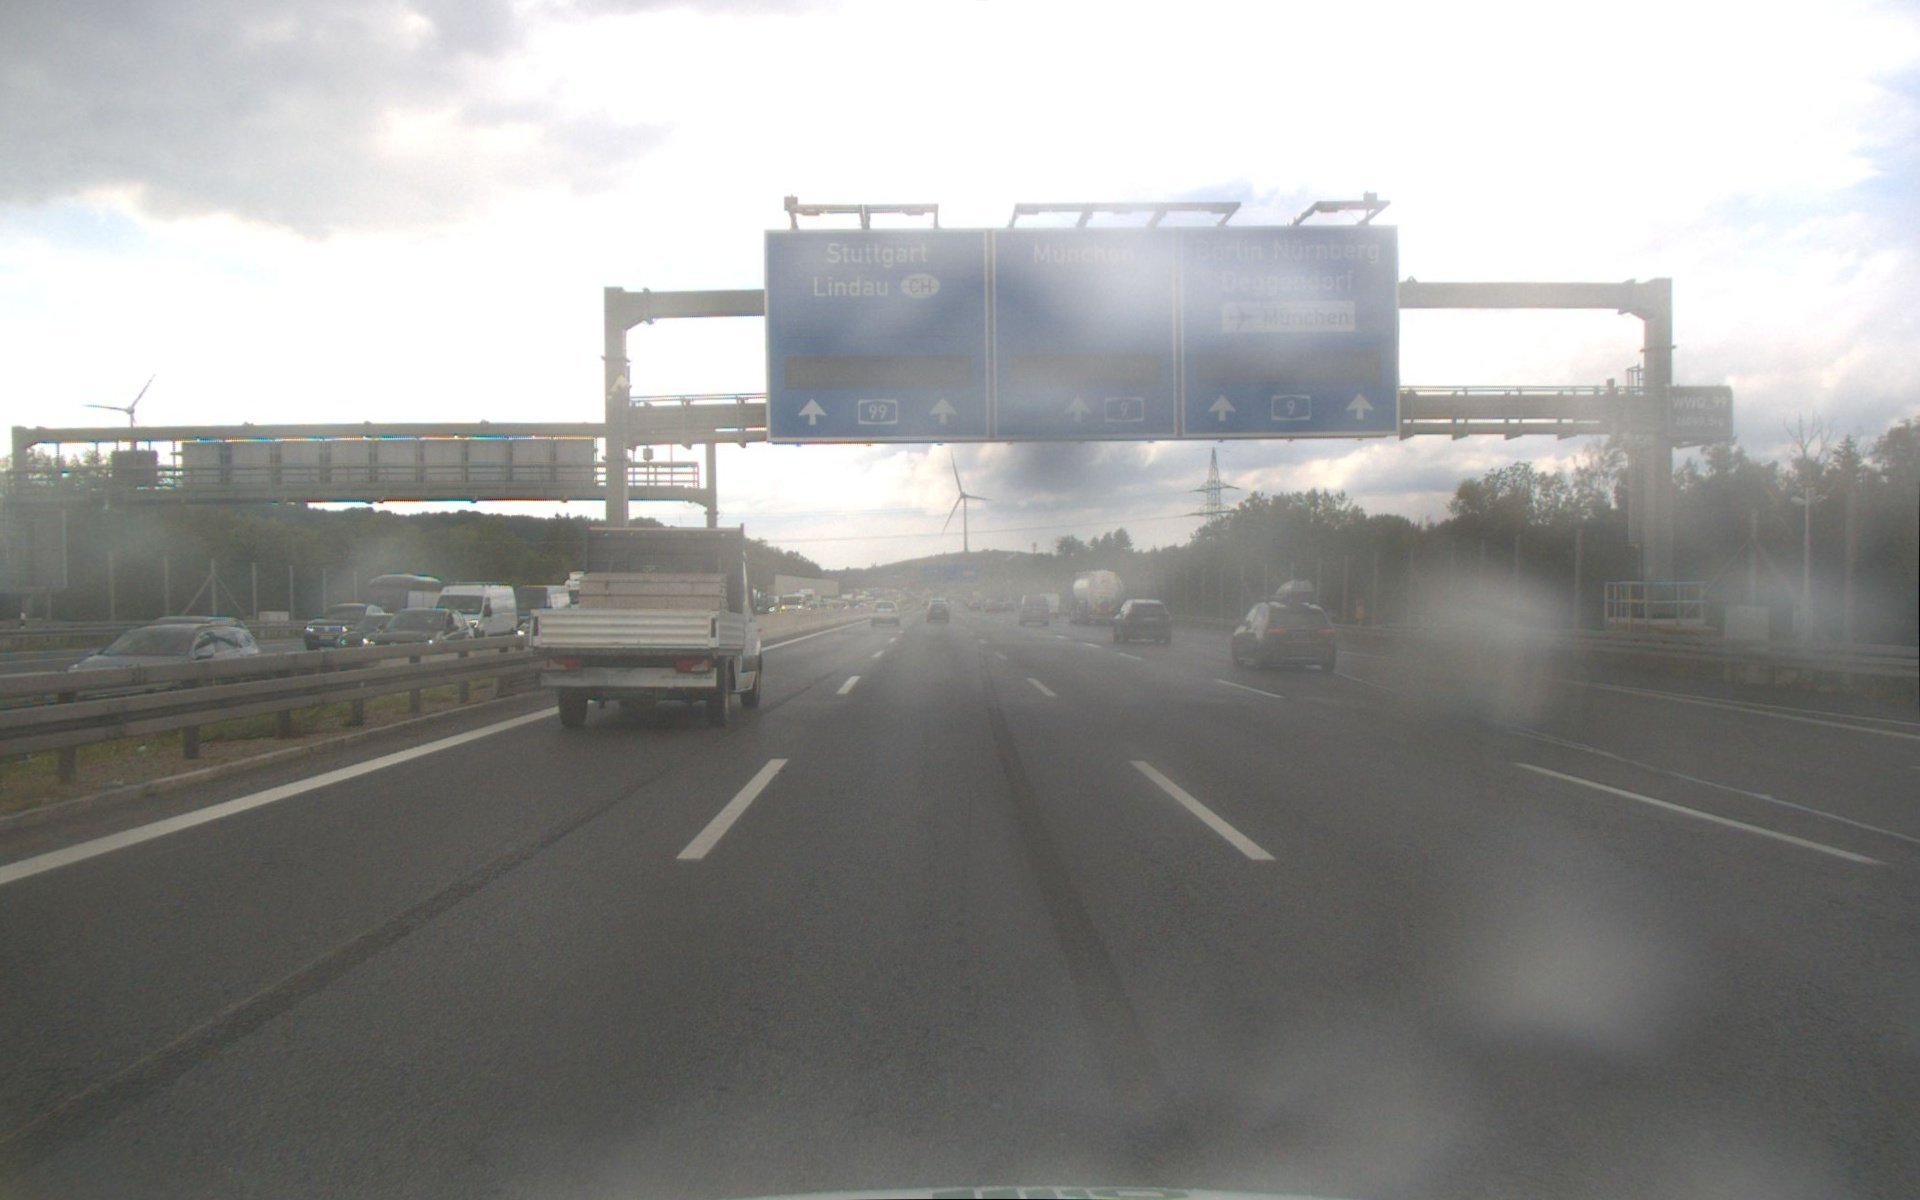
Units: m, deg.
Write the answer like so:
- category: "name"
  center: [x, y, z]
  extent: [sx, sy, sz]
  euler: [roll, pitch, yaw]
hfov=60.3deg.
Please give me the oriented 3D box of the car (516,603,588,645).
- category: "car"
  center: [-14.620, 0.837, 59.483]
  extent: [1.669, 1.416, 4.502]
  euler: [0, 0, -3]

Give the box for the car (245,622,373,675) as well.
- category: "car"
  center: [-18.465, 1.344, 47.201]
  extent: [1.762, 1.381, 5.127]
  euler: [0, 0, -2]

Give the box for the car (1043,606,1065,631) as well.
- category: "car"
  center: [9.500, 1.852, 167.392]
  extent: [2.004, 2.542, 3.999]
  euler: [1, 0, -1]

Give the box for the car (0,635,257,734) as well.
- category: "car"
  center: [-13.497, 1.317, 27.224]
  extent: [1.851, 1.363, 4.943]
  euler: [0, 0, -2]

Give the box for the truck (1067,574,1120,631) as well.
- category: "truck"
  center: [10.177, 0.238, 127.146]
  extent: [3.265, 4.151, 8.269]
  euler: [1, -1, -1]

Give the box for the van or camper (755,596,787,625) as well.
- category: "van or camper"
  center: [-15.141, 0.855, 132.518]
  extent: [2.052, 2.224, 4.970]
  euler: [1, 0, -1]

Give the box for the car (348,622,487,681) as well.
- category: "car"
  center: [-14.133, 1.304, 43.436]
  extent: [2.037, 1.381, 5.254]
  euler: [0, 0, -2]

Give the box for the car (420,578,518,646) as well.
- category: "car"
  center: [-18.957, 0.446, 64.152]
  extent: [2.158, 2.532, 6.063]
  euler: [0, 0, -2]

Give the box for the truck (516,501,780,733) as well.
- category: "truck"
  center: [-3.754, 0.201, 21.497]
  extent: [2.306, 2.450, 7.354]
  euler: [1, 0, -3]

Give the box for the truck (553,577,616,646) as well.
- category: "truck"
  center: [-27.953, 0.824, 123.351]
  extent: [3.084, 4.941, 8.023]
  euler: [1, 0, -2]

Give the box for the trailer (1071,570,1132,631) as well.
- category: "trailer"
  center: [10.278, 0.093, 121.208]
  extent: [3.265, 4.249, 11.835]
  euler: [1, -1, -1]

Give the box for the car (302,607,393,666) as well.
- category: "car"
  center: [-22.257, 1.304, 60.280]
  extent: [1.953, 2.049, 3.998]
  euler: [0, 0, -2]

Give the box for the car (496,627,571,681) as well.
- category: "car"
  center: [-22.488, 2.798, 87.533]
  extent: [2.225, 2.591, 7.355]
  euler: [0, 0, -2]

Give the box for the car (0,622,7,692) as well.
- category: "car"
  center: [-20.768, 1.194, 32.540]
  extent: [1.588, 1.472, 4.415]
  euler: [0, 0, -2]

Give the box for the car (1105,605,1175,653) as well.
- category: "car"
  center: [6.845, 1.070, 63.299]
  extent: [2.004, 1.729, 5.005]
  euler: [1, 0, -2]

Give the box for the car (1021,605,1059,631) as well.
- category: "car"
  center: [5.323, 1.189, 110.829]
  extent: [2.056, 1.729, 3.996]
  euler: [1, 0, -4]

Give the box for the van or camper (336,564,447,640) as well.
- category: "van or camper"
  center: [-22.429, 0.076, 65.581]
  extent: [2.532, 2.897, 6.209]
  euler: [0, 0, -3]

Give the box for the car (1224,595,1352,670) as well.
- category: "car"
  center: [7.658, 0.779, 39.056]
  extent: [2.061, 1.634, 5.065]
  euler: [1, -1, 1]

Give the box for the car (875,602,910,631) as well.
- category: "car"
  center: [-4.090, 0.992, 100.753]
  extent: [2.004, 1.729, 3.999]
  euler: [1, 0, -1]

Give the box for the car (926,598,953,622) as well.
- category: "car"
  center: [-1.524, 0.741, 124.553]
  extent: [2.003, 1.729, 3.999]
  euler: [1, 0, -1]

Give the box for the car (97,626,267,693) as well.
- category: "car"
  center: [-17.674, 1.308, 37.846]
  extent: [1.851, 1.363, 4.562]
  euler: [0, 0, -2]
